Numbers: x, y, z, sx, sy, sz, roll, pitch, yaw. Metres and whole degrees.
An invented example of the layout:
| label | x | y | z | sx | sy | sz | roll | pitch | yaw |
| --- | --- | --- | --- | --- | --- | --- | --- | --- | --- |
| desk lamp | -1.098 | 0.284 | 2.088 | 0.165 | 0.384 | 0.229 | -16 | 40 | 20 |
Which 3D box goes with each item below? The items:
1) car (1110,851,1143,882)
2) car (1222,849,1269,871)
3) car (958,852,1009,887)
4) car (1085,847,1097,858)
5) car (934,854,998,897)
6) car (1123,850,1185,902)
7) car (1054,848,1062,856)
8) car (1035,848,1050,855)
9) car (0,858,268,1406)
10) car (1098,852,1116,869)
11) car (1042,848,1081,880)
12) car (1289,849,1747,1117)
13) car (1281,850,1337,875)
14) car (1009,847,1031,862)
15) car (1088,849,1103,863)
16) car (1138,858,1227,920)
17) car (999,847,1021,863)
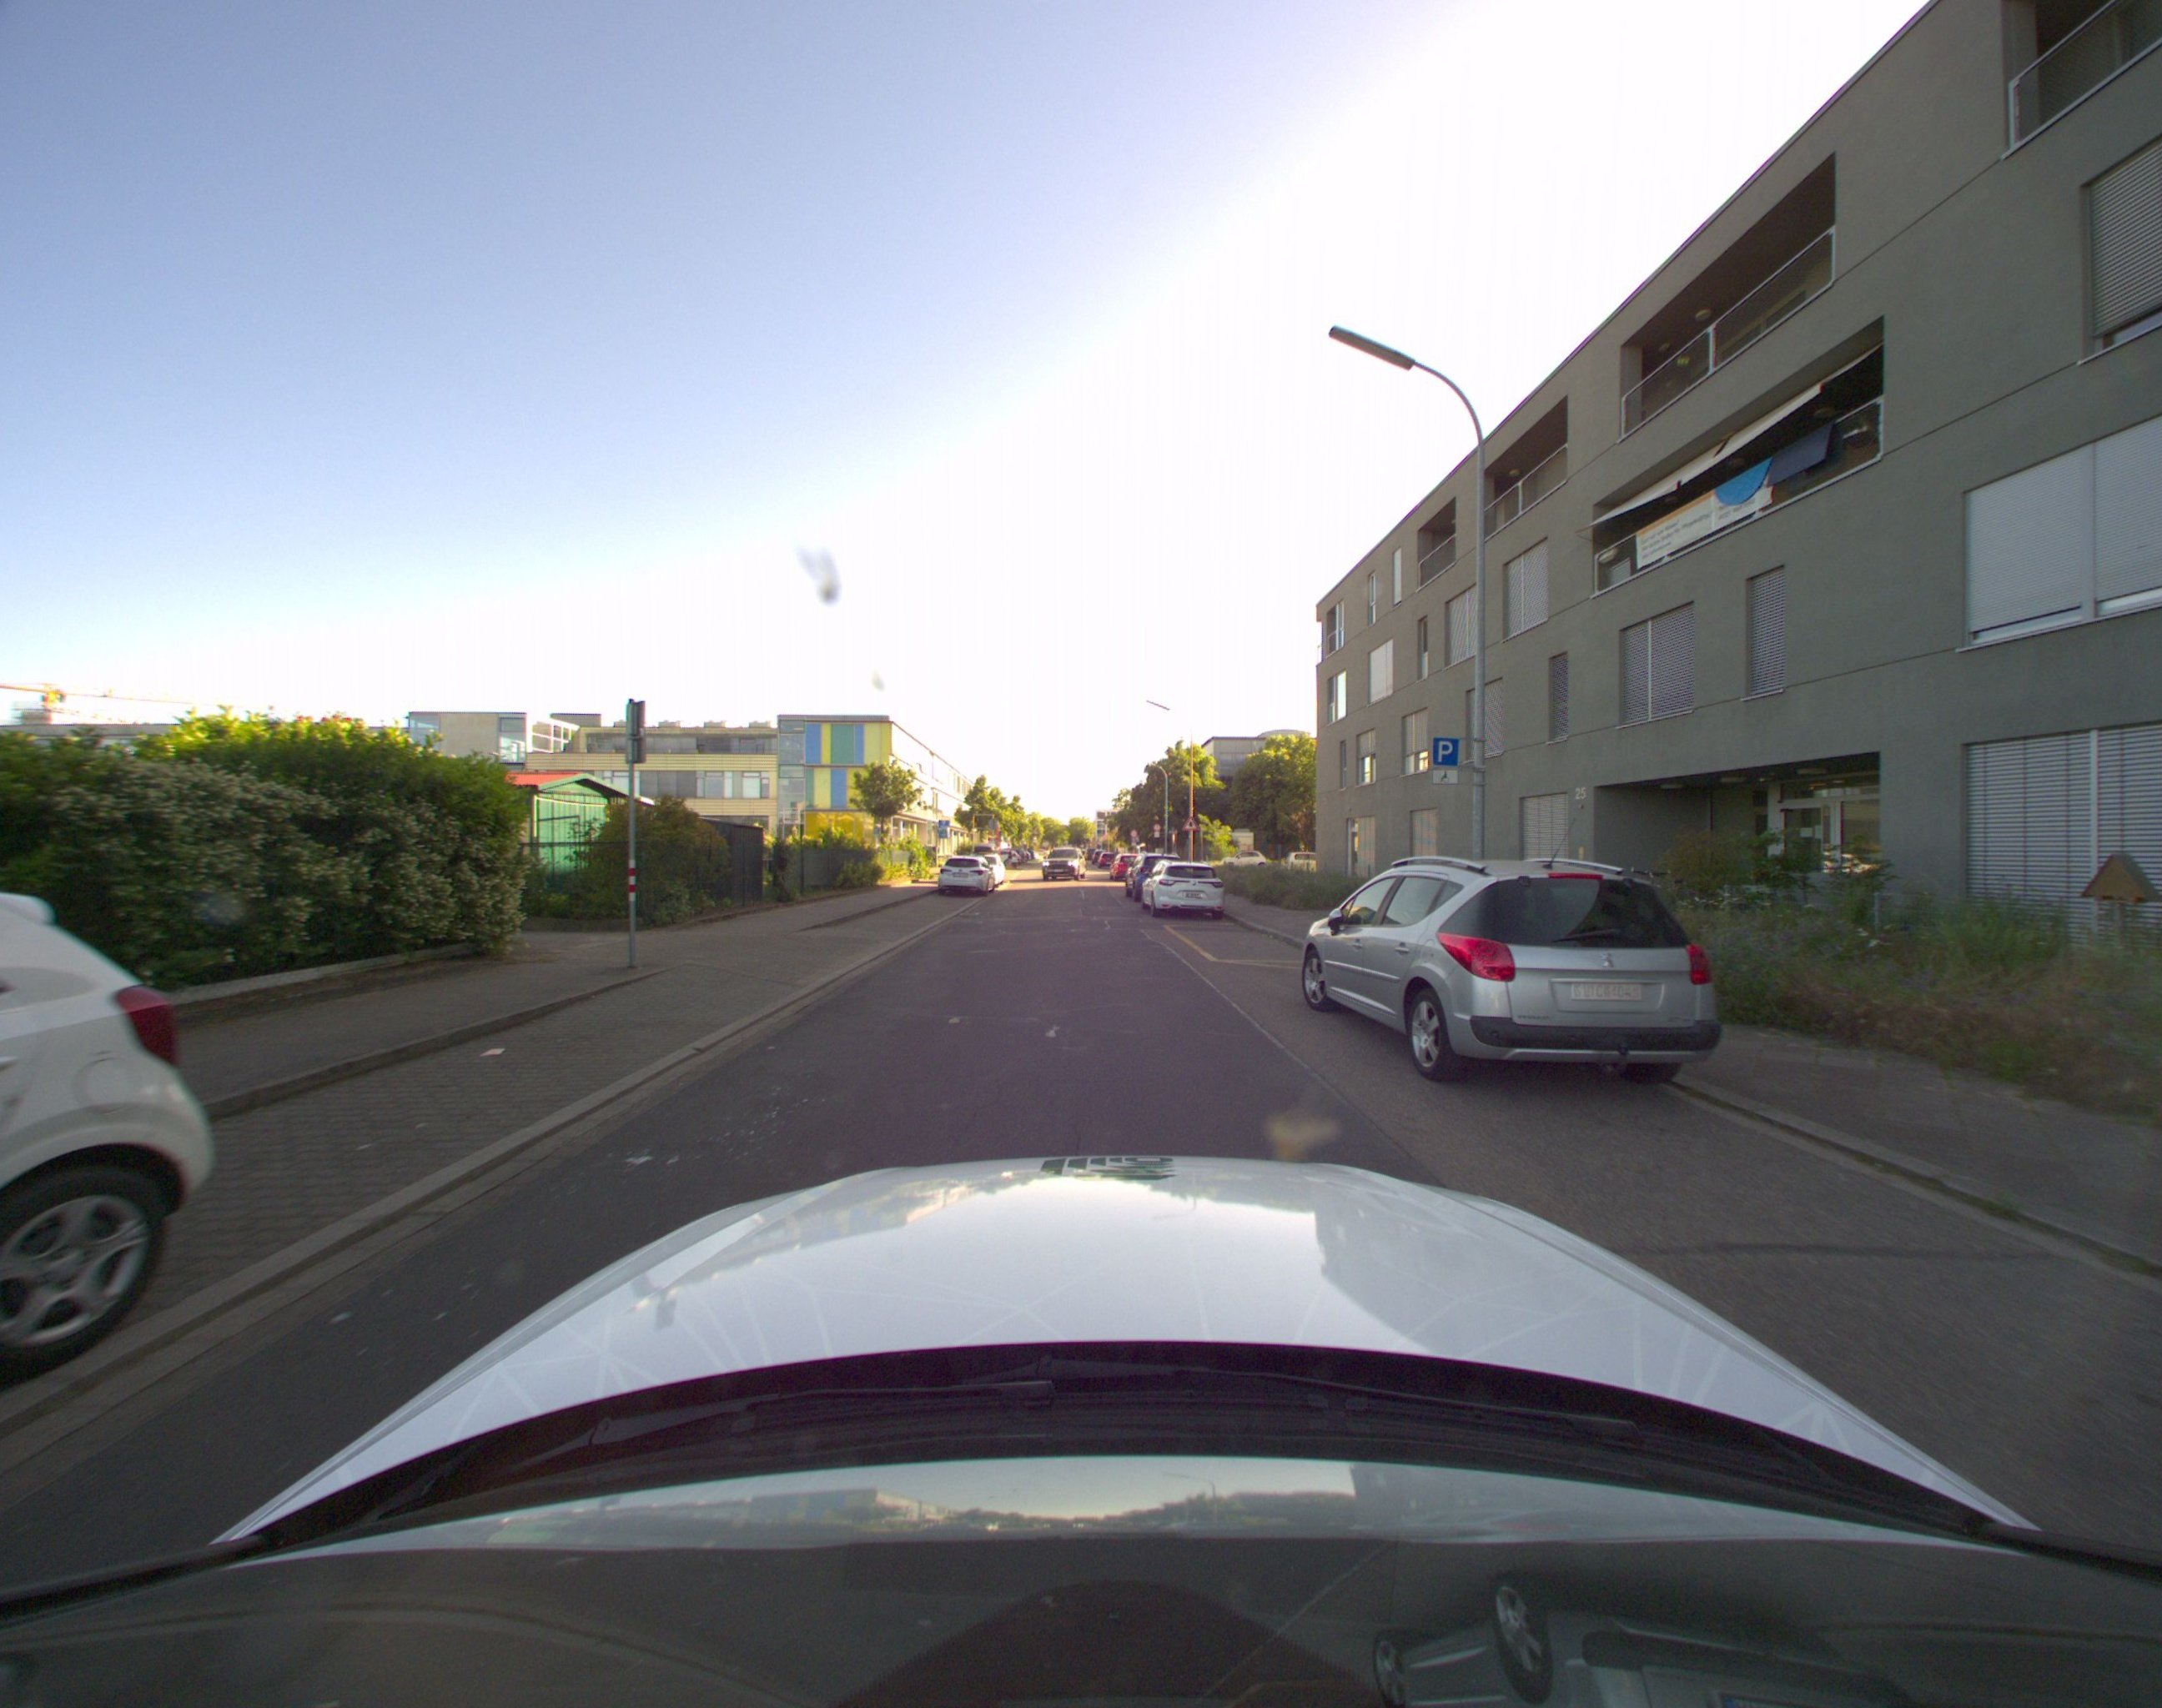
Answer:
| label | x | y | z | sx | sy | sz | roll | pitch | yaw |
| --- | --- | --- | --- | --- | --- | --- | --- | --- | --- |
| car | 2.430 | 0.631 | 44.110 | 1.441 | 1.549 | 3.611 | 2 | 0 | -2 |
| car | 12.279 | 0.418 | 60.865 | 3.204 | 1.549 | 1.450 | 2 | 0 | 1 |
| car | -4.362 | 0.657 | 36.932 | 1.849 | 1.428 | 4.132 | 2 | 0 | -1 |
| car | 1.454 | -0.227 | 117.703 | 1.441 | 1.549 | 3.611 | 2 | 0 | -2 |
| car | -4.226 | 0.745 | 30.461 | 1.849 | 1.428 | 4.132 | 2 | 0 | -1 |
| car | 2.427 | 0.694 | 27.700 | 1.628 | 1.630 | 3.611 | 2 | 0 | -2 |
| car | -5.099 | -0.441 | 182.927 | 1.660 | 1.549 | 3.899 | 2 | 0 | -2 |
| car | -9.677 | -0.630 | 204.805 | 3.598 | 1.549 | 1.446 | 2 | 0 | -7 |
| car | -3.712 | 0.768 | 1.070 | 1.555 | 1.495 | 3.756 | 0 | 0 | -1 |
| car | 2.400 | 0.585 | 76.323 | 1.441 | 1.549 | 3.611 | 2 | 0 | -2 |
| car | -0.994 | 0.516 | 44.037 | 1.837 | 1.546 | 4.195 | 2 | 0 | 2 |
| car | 3.105 | 0.769 | 6.769 | 1.652 | 1.551 | 3.848 | 2 | 0 | -1 |
| car | 14.760 | 0.536 | 52.756 | 3.204 | 1.460 | 1.450 | 2 | 0 | 1 |
| car | -6.709 | 0.059 | 89.848 | 1.846 | 1.563 | 4.138 | 2 | 0 | 4 |
| car | 1.592 | 0.250 | 92.241 | 1.441 | 1.549 | 3.611 | 2 | 0 | -2 |
| car | 2.597 | 0.847 | 21.696 | 1.737 | 1.428 | 4.132 | 2 | 0 | -1 |
| car | -7.108 | 0.089 | 81.552 | 1.849 | 1.563 | 4.132 | 2 | 0 | -1 |
